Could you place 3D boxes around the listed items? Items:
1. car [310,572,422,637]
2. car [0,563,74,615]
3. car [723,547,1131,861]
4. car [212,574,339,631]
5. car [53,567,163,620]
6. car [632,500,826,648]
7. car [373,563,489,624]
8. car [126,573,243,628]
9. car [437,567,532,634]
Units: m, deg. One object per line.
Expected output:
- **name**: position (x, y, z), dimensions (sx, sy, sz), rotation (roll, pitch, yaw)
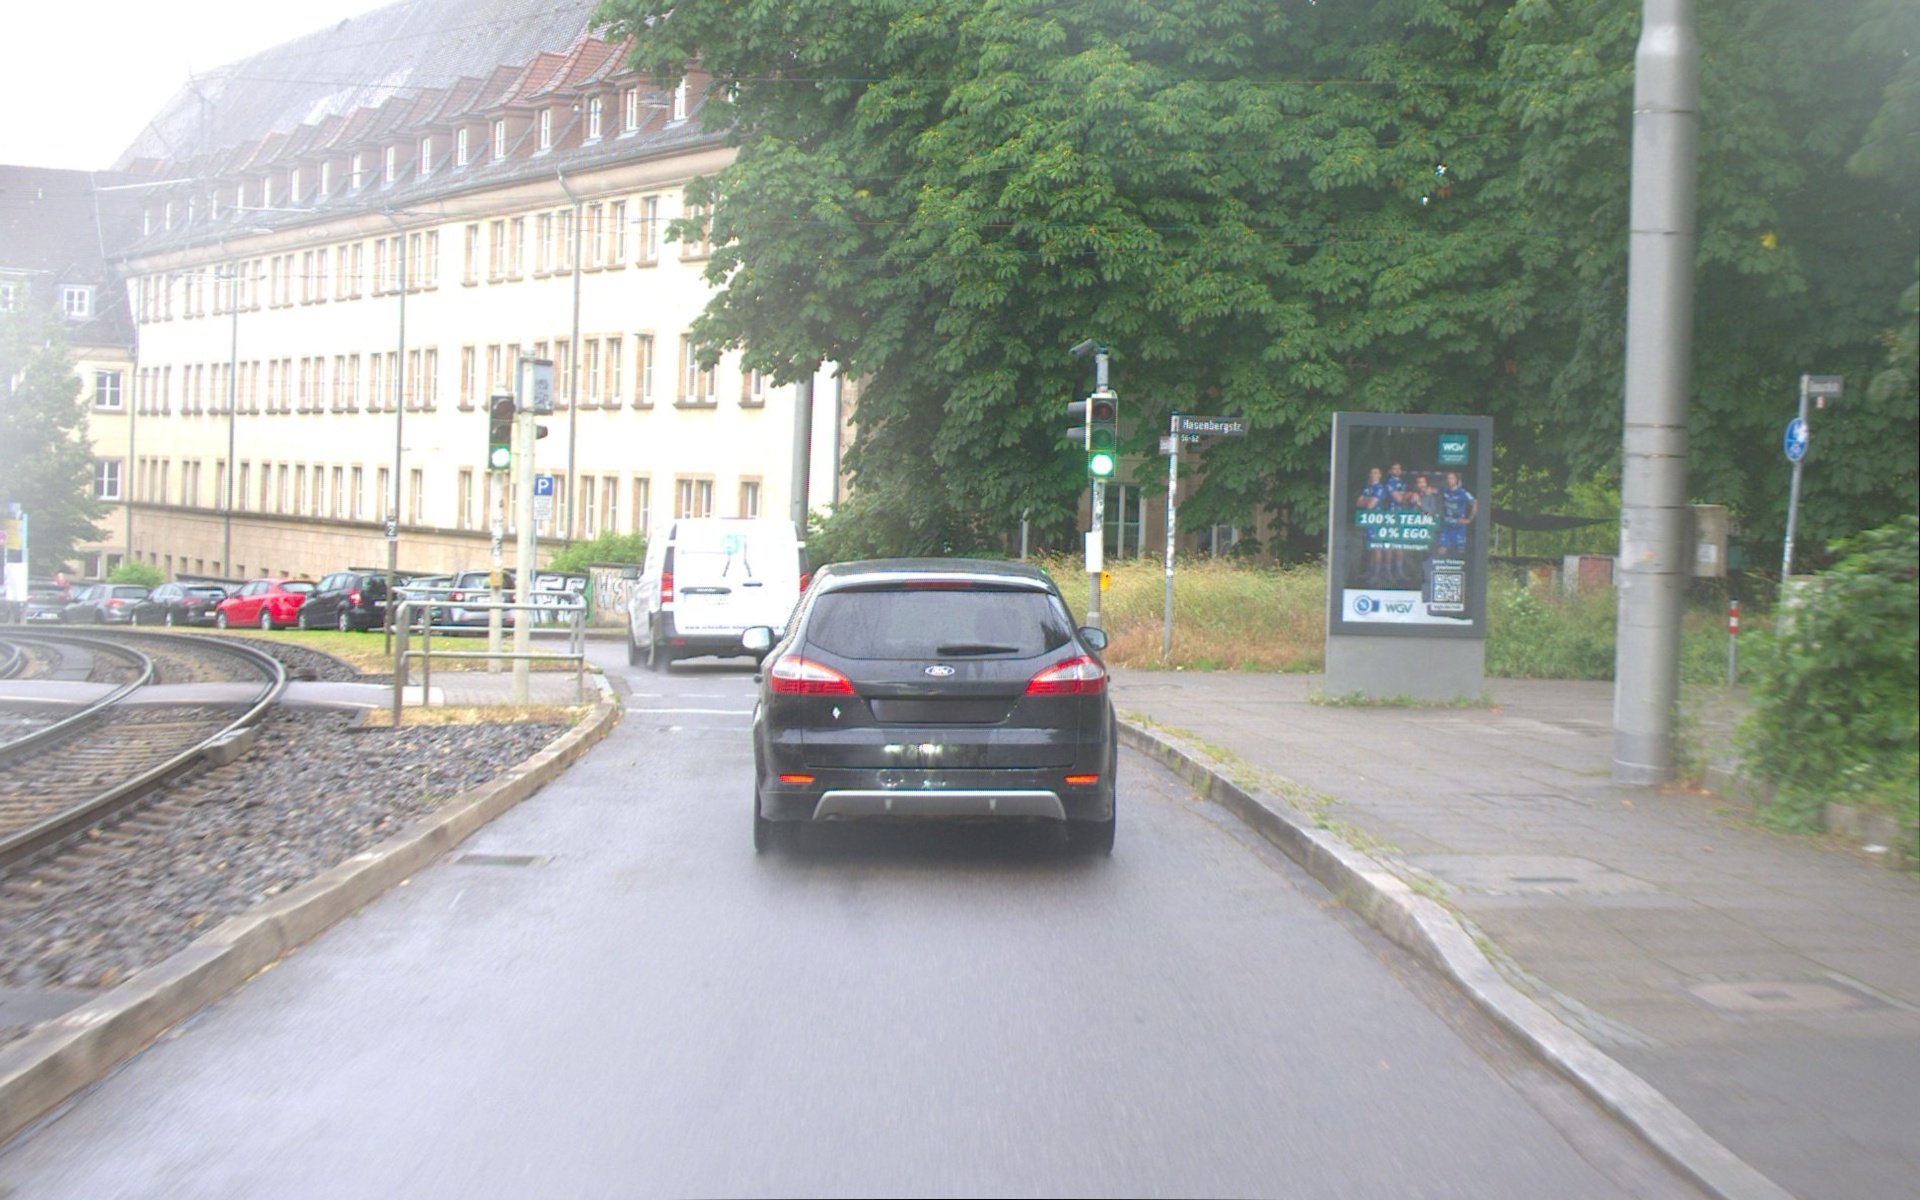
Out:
- **car**: position (-15.035, 0.110, 86.867), dimensions (1.665, 1.567, 3.856), rotation (-1, 1, -28)
- **car**: position (-28.679, -0.344, 105.435), dimensions (1.666, 1.519, 4.108), rotation (-1, 1, -34)
- **car**: position (-0.202, 0.457, 18.189), dimensions (1.920, 1.474, 4.000), rotation (0, 1, -1)
- **car**: position (-18.208, 0.078, 91.349), dimensions (1.666, 1.471, 4.065), rotation (1, -1, -38)
- **car**: position (-24.946, -0.196, 100.553), dimensions (1.666, 1.471, 4.108), rotation (-1, 1, -36)
- **car**: position (-2.918, -0.339, 42.632), dimensions (2.136, 1.739, 4.219), rotation (0, 1, -7)
- **car**: position (-12.607, -0.162, 81.809), dimensions (1.536, 1.411, 3.644), rotation (-1, 1, -29)
- **car**: position (-21.628, -0.006, 95.746), dimensions (1.666, 1.471, 4.457), rotation (-1, 1, -34)
- **car**: position (-10.849, -0.004, 78.302), dimensions (1.597, 1.460, 2.721), rotation (-1, 1, -19)
